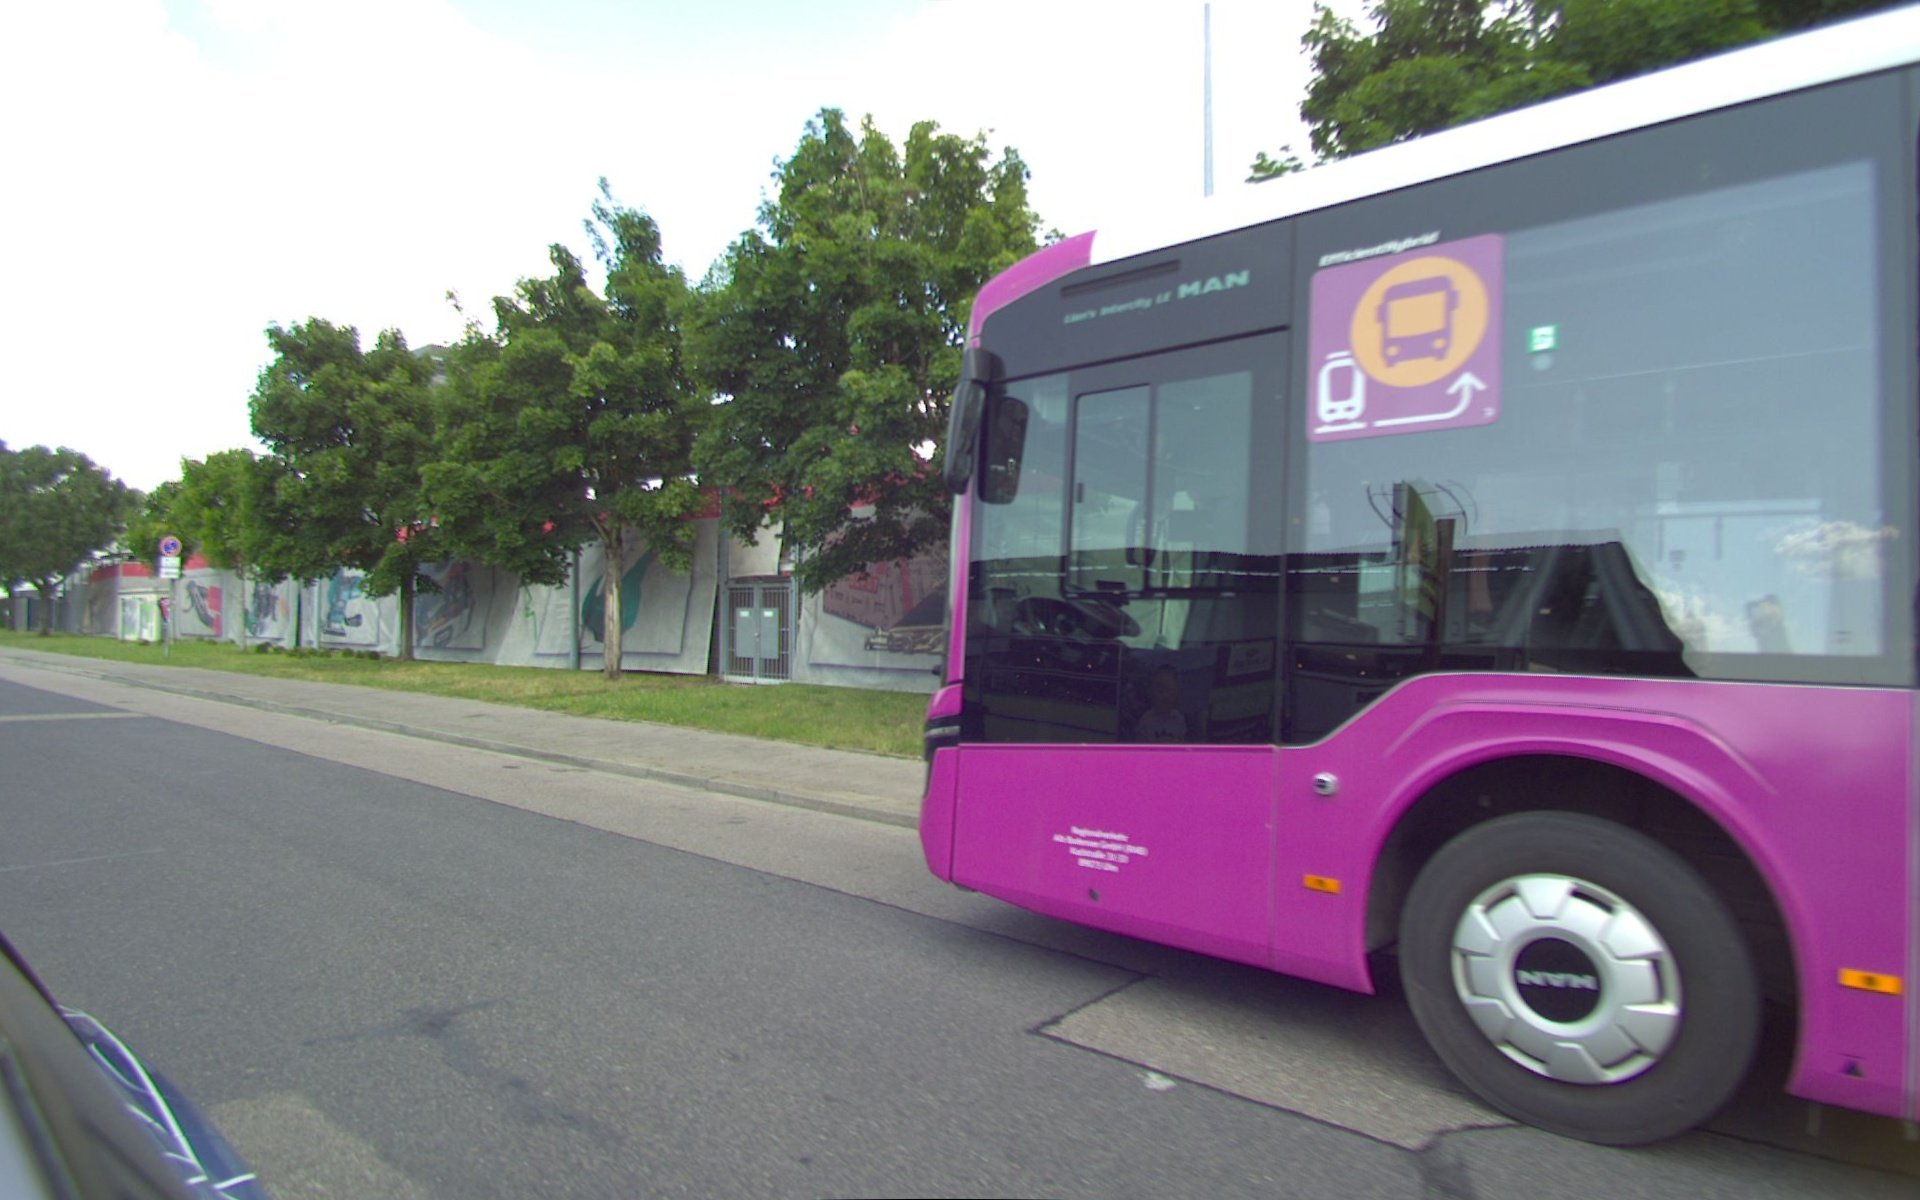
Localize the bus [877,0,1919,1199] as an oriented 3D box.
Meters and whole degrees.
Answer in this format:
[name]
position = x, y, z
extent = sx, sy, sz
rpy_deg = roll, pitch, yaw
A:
[bus]
position = 5.582, -0.169, 1.548
extent = 13.206, 3.449, 2.636
rpy_deg = -1, -5, 40
